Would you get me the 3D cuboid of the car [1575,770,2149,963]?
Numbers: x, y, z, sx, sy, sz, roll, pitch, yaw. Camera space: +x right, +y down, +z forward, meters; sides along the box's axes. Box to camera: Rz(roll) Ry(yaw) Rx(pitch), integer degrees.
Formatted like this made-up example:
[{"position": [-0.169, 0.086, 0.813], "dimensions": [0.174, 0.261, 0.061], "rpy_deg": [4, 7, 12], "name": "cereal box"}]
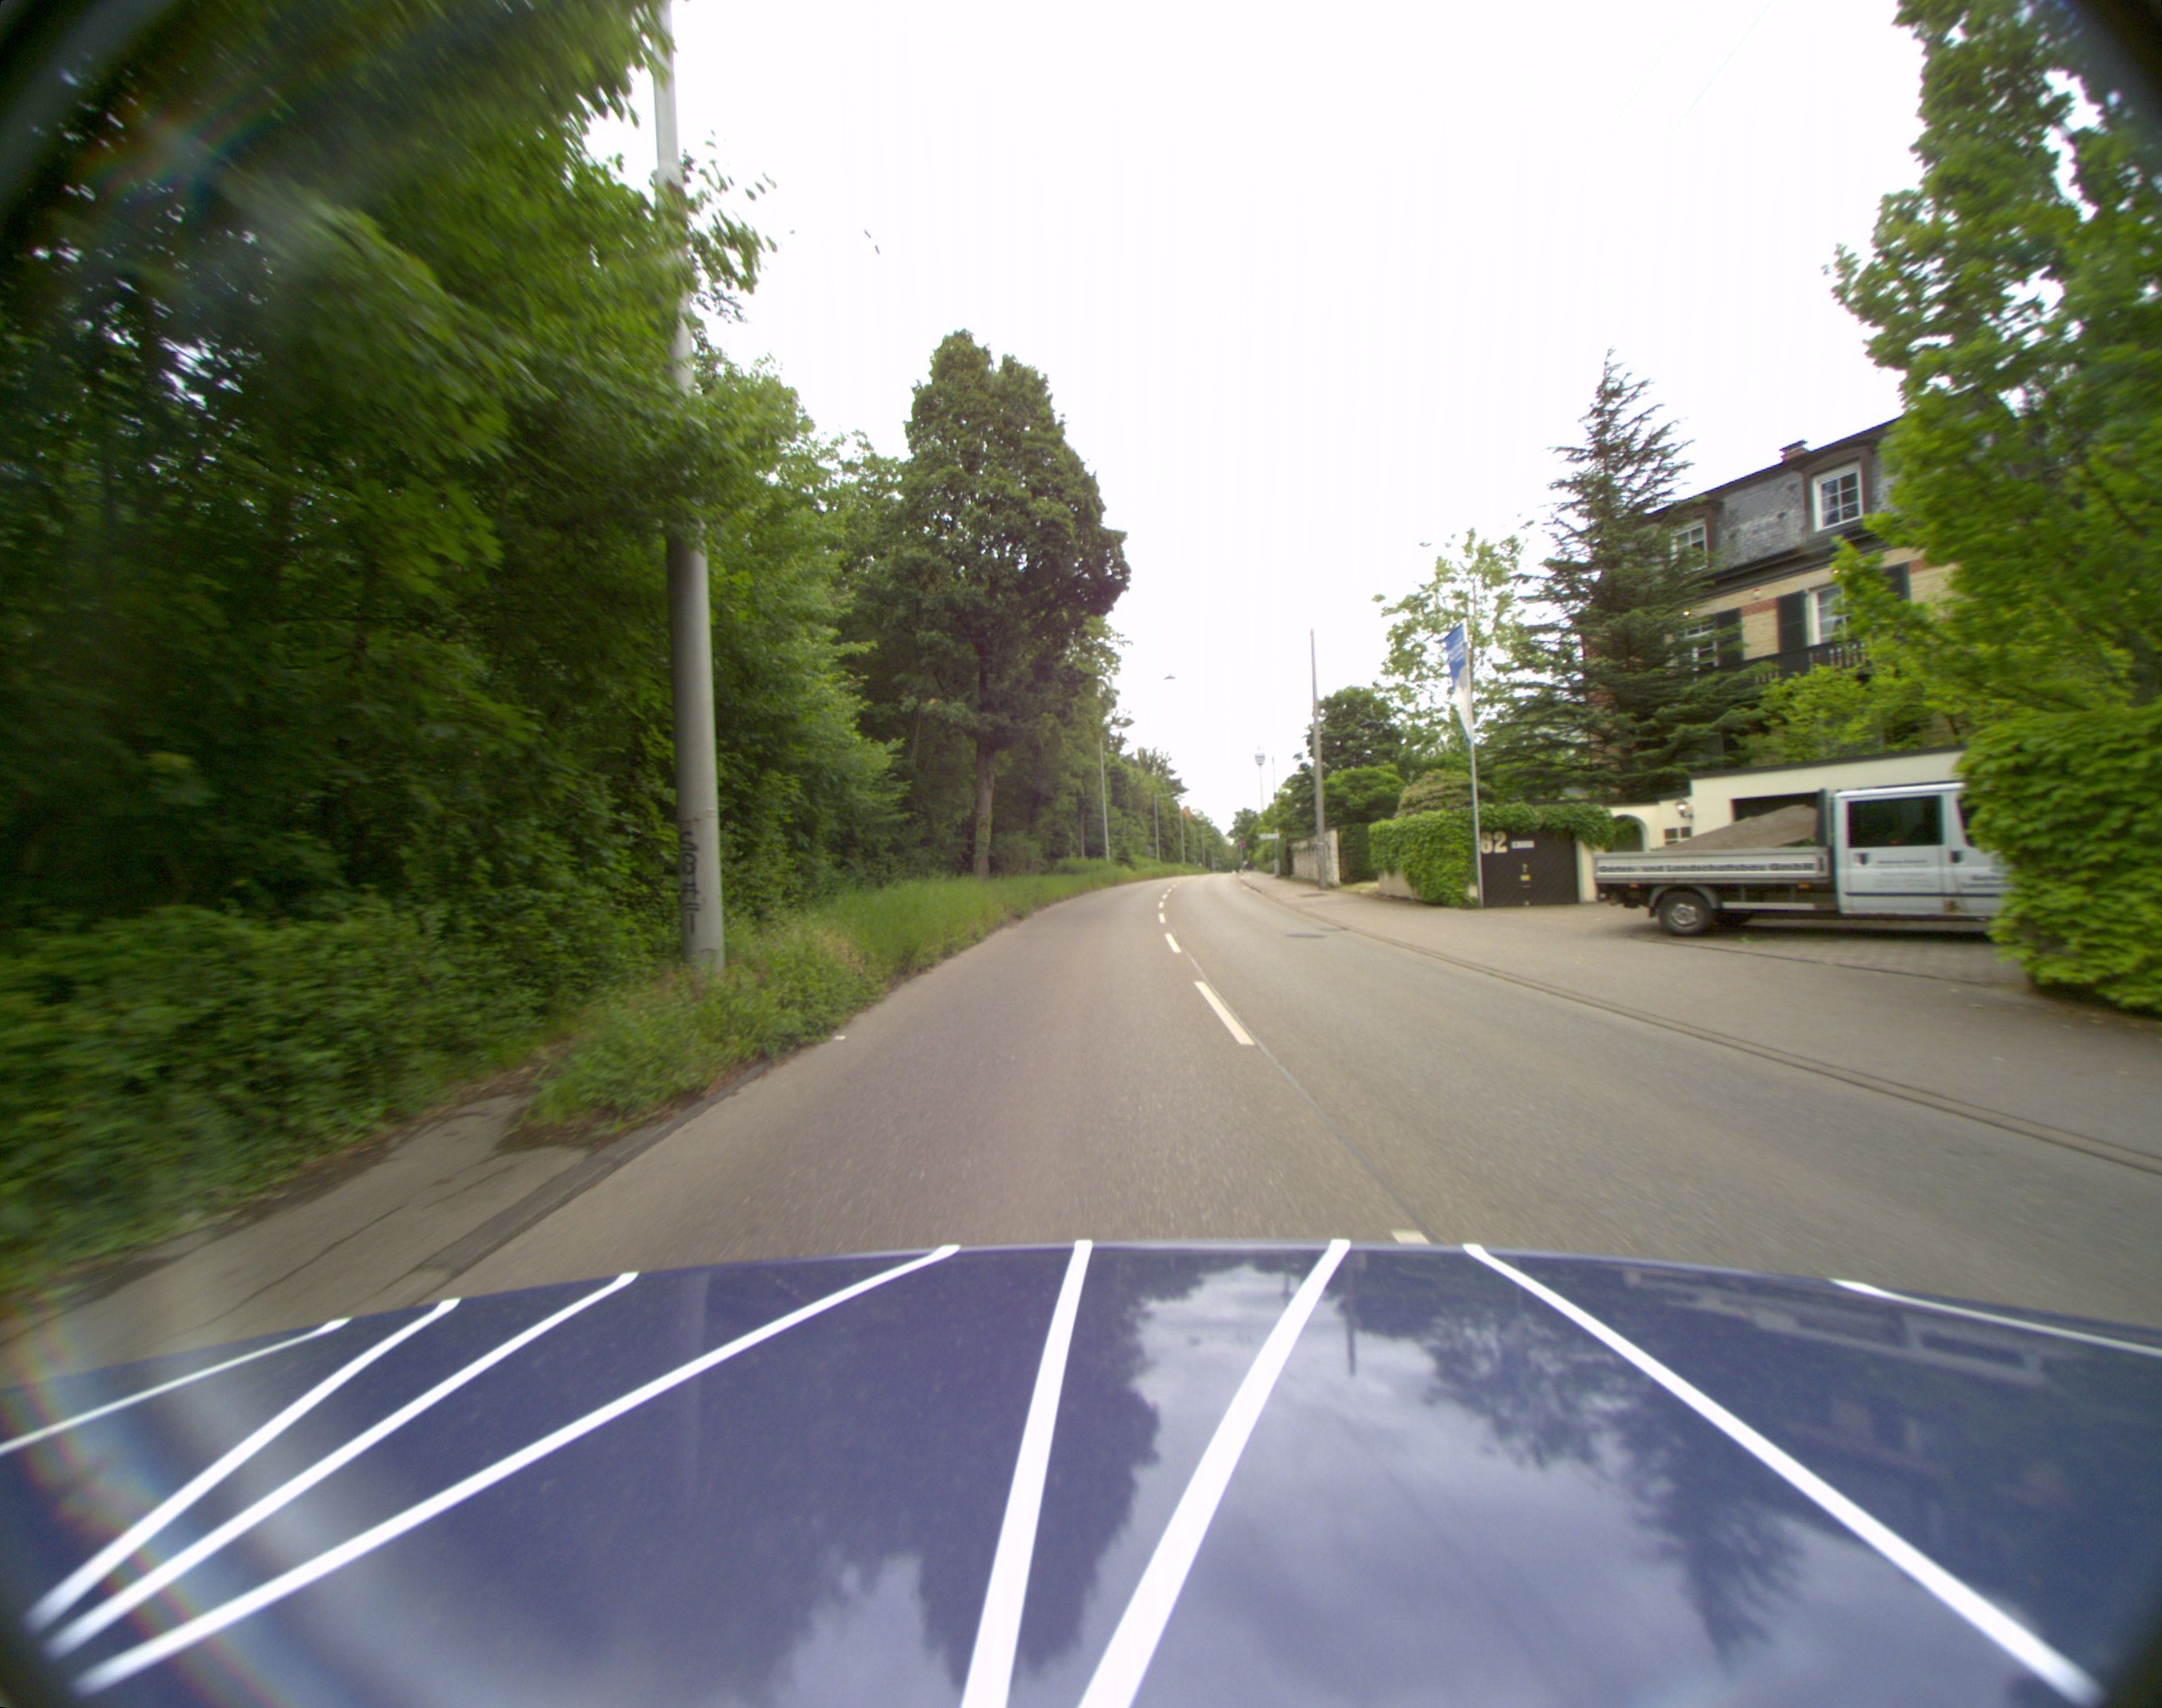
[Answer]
[{"position": [10.696, 0.161, 11.019], "dimensions": [2.430, 2.060, 5.349], "rpy_deg": [-3, 0, -31], "name": "car"}]
